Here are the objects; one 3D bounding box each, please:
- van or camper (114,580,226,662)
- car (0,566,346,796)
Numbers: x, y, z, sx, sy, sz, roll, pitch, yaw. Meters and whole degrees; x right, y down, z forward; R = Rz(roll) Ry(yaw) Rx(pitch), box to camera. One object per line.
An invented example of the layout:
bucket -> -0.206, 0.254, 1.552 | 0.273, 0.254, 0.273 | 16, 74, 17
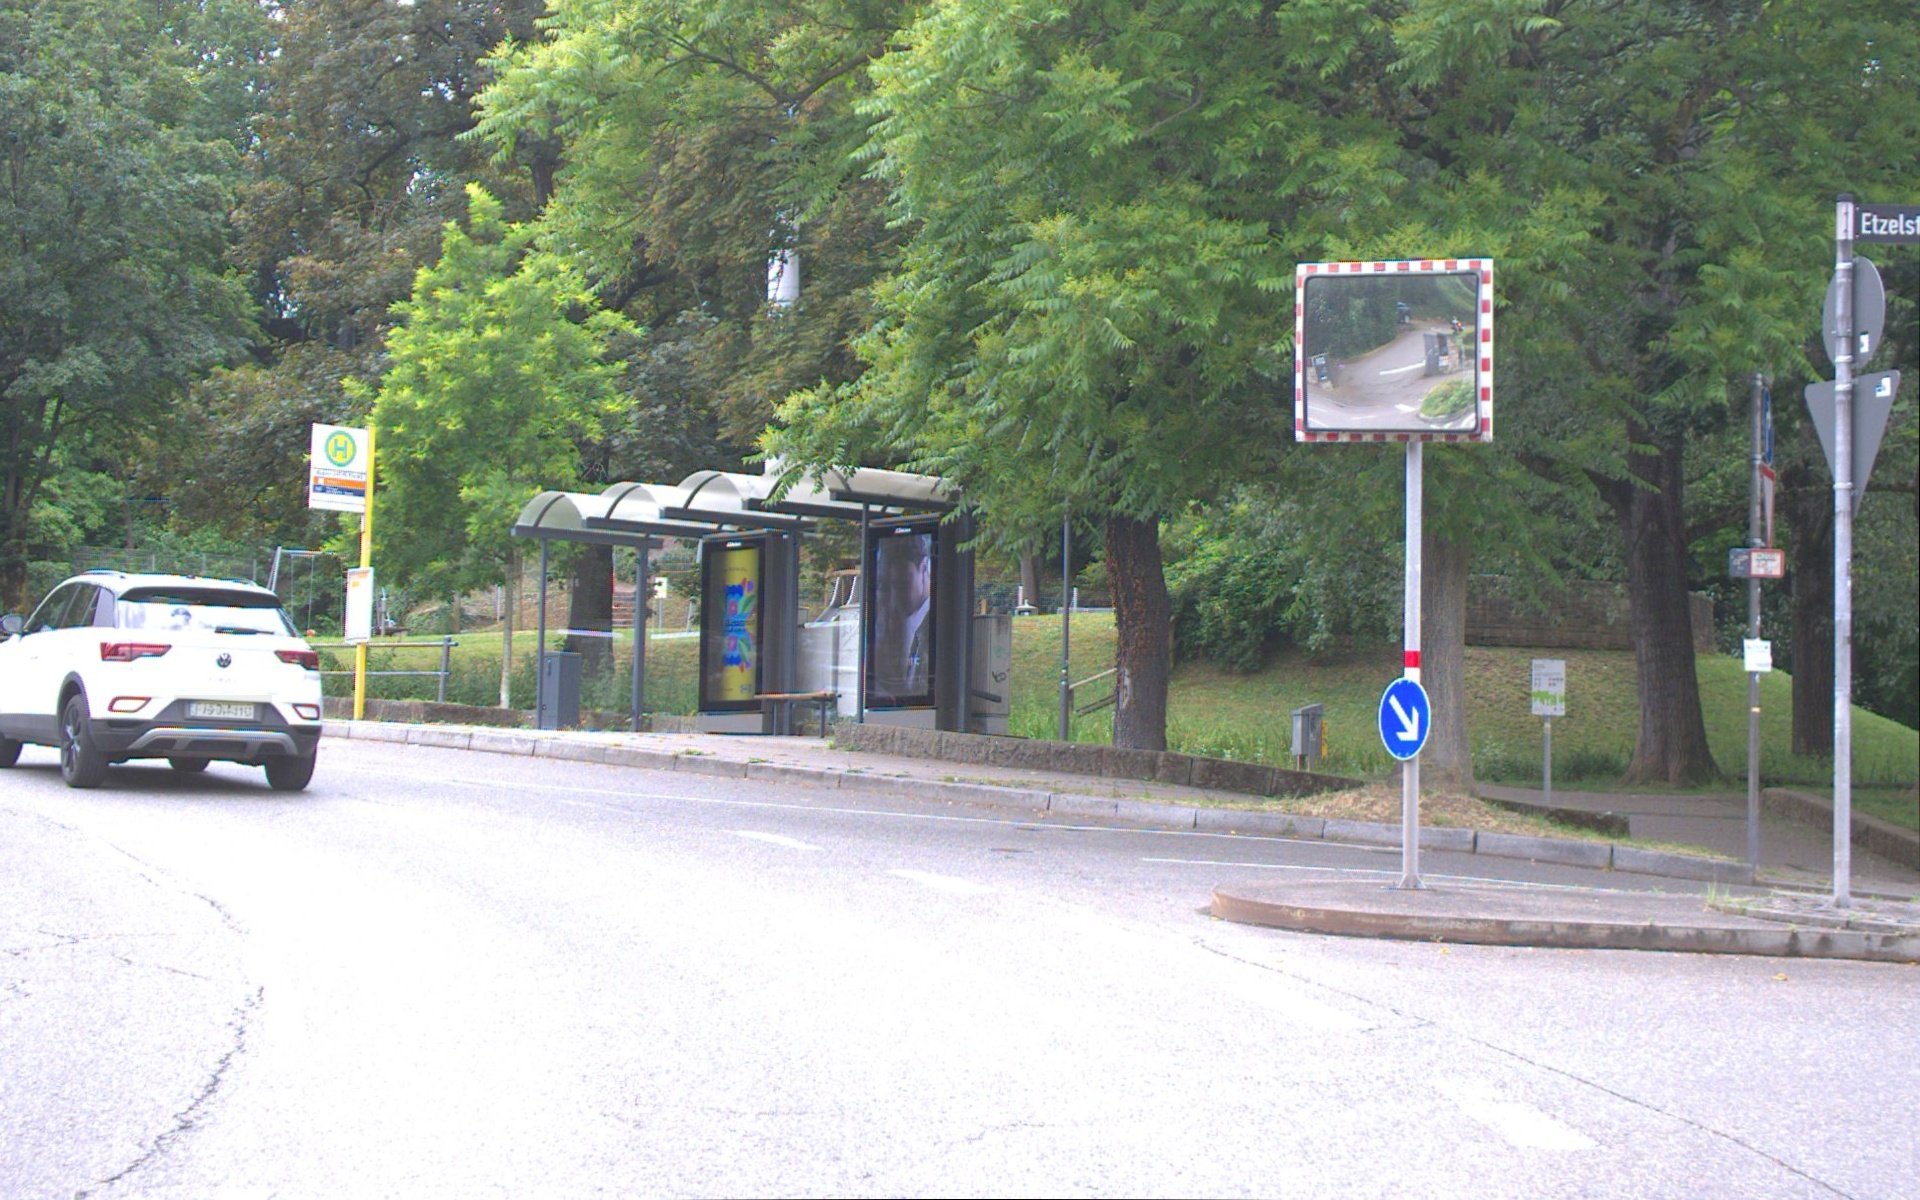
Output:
van or camper -> -21.322, 0.556, 92.621 | 2.303, 2.007, 5.443 | 3, -1, -19
car -> -6.117, 0.569, 26.018 | 1.864, 1.551, 3.895 | 3, 0, -26
